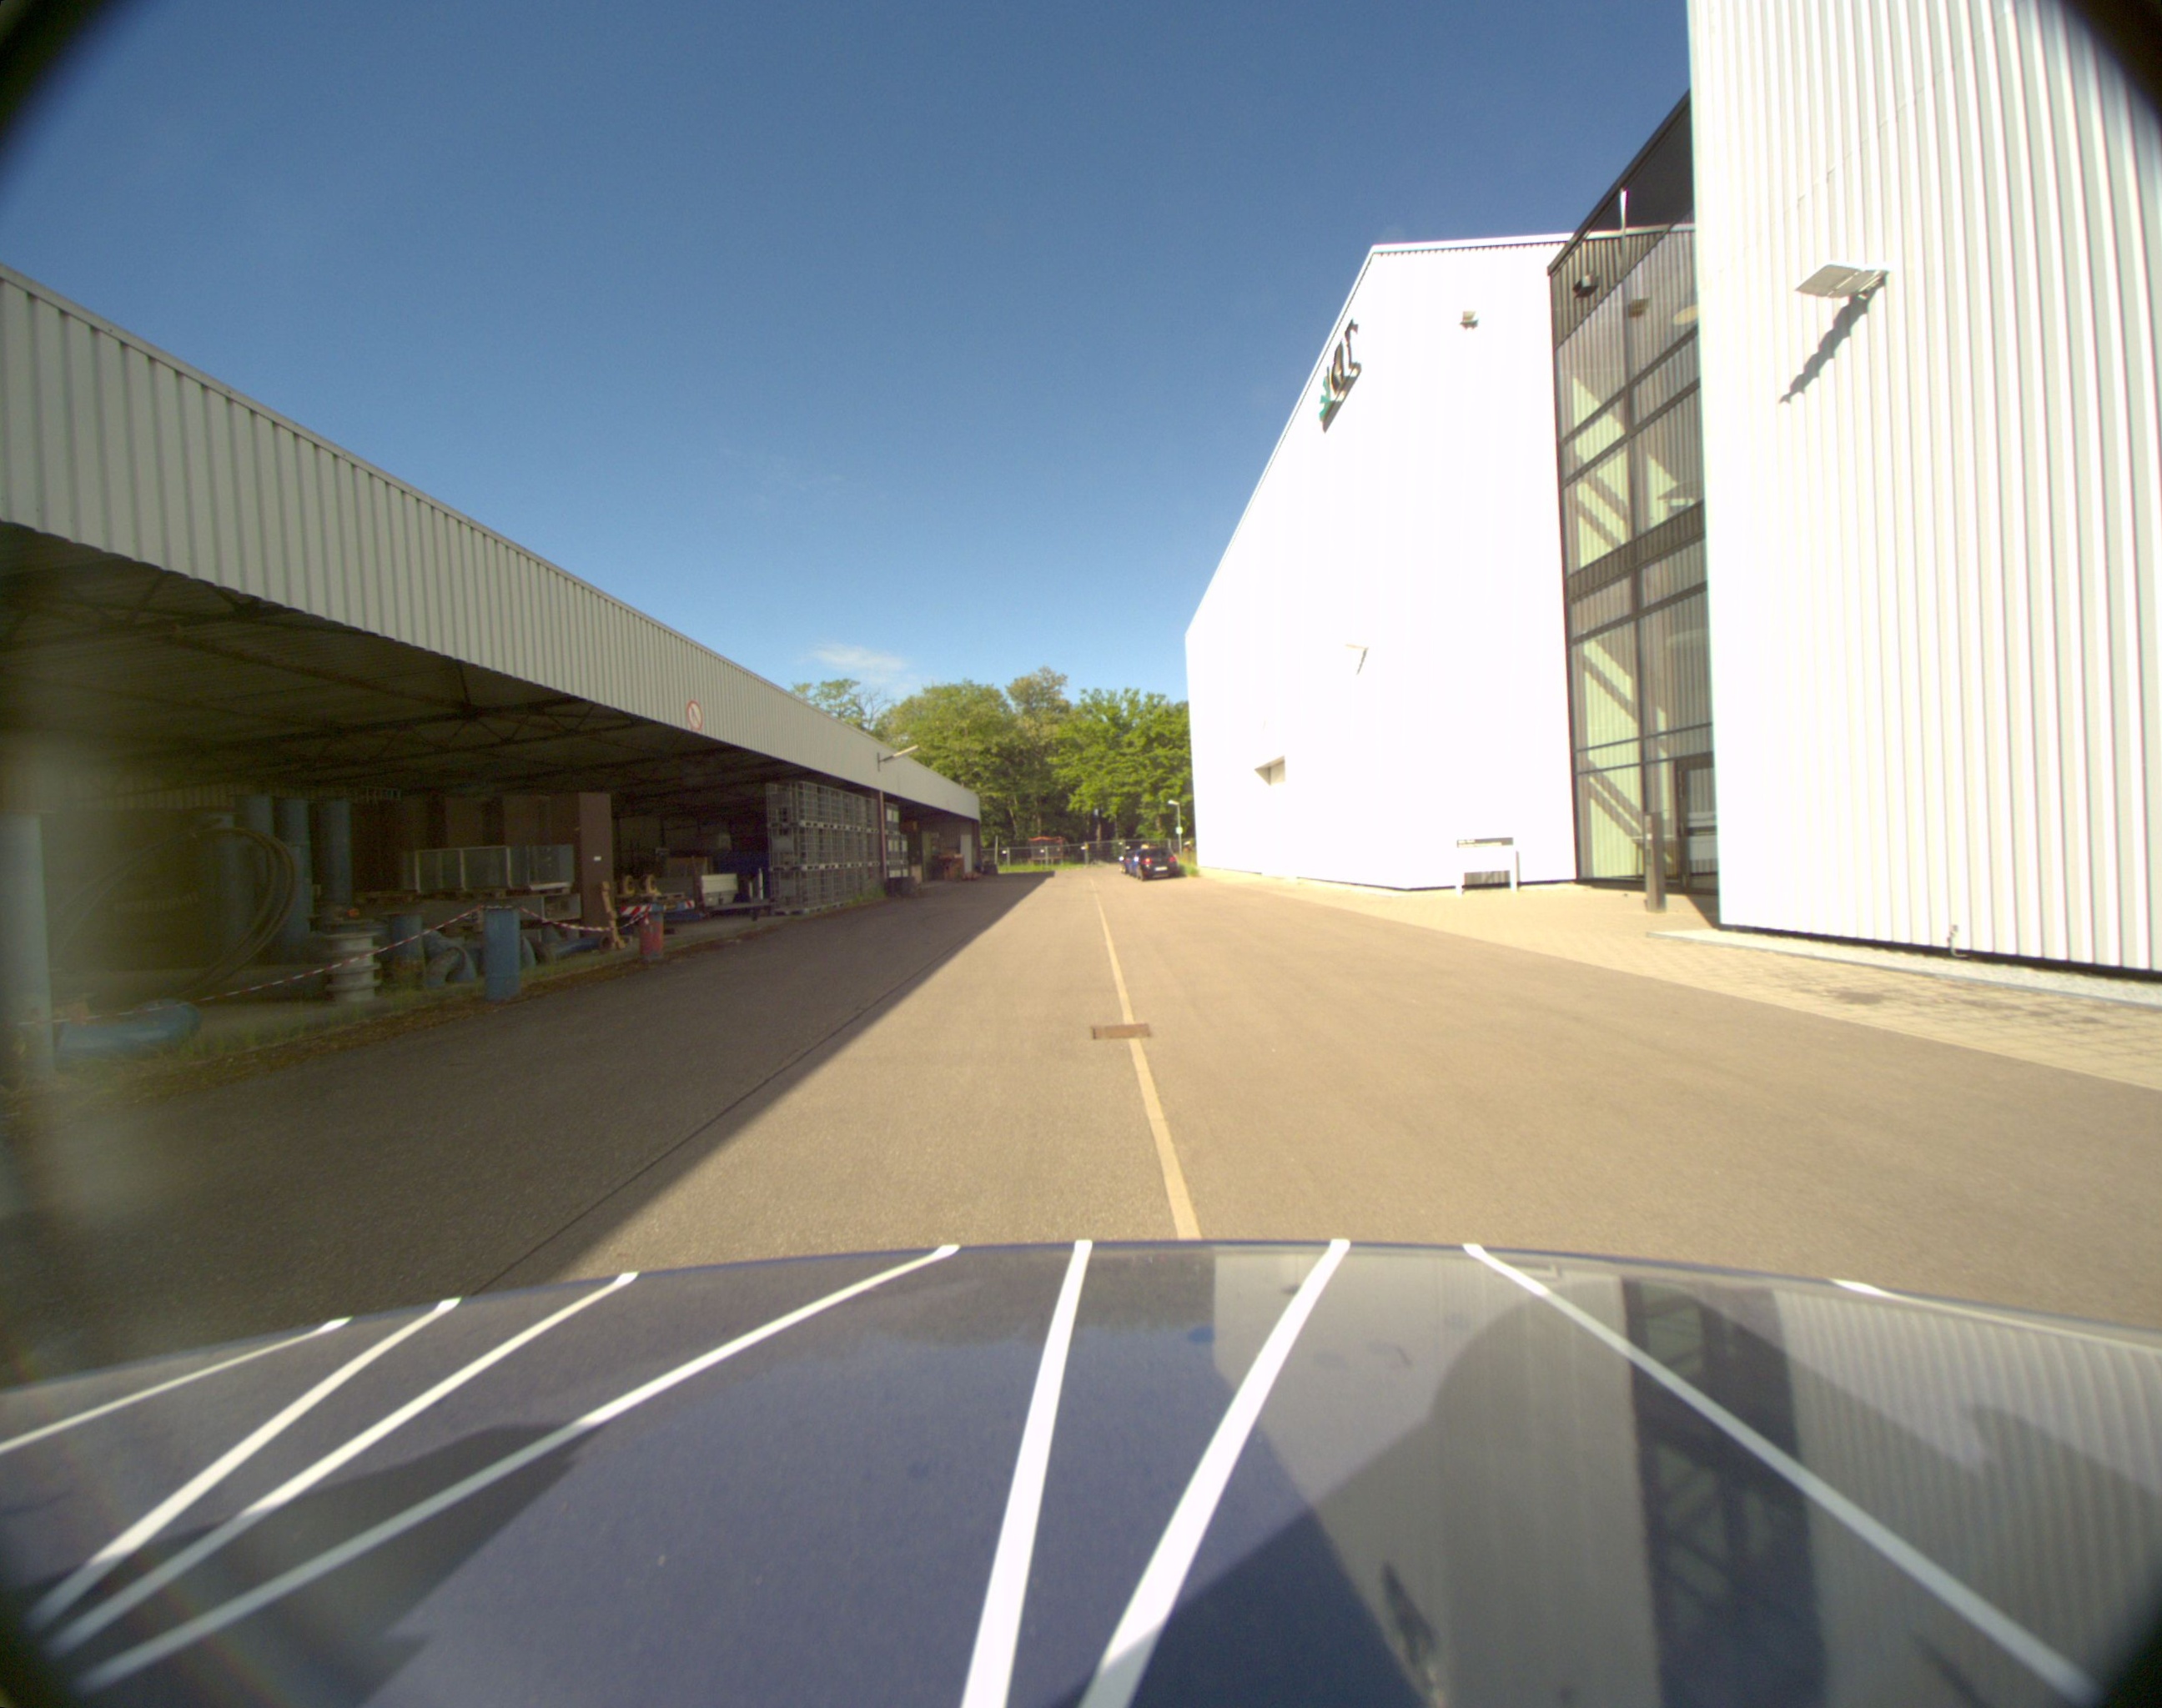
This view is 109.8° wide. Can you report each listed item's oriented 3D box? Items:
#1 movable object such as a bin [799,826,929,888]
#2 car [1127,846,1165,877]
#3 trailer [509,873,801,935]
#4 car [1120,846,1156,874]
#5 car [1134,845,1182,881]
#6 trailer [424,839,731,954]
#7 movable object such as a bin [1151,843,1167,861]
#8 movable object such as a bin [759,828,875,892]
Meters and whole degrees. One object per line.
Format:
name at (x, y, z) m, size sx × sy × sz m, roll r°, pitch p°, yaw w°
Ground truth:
movable object such as a bin at (-11.196, 0.148, 39.656) m, size 5.848 × 2.908 × 2.820 m, roll -2°, pitch 1°, yaw 1°
car at (3.413, 0.382, 40.363) m, size 1.552 × 1.480 × 3.521 m, roll -5°, pitch 0°, yaw -1°
trailer at (-9.920, 1.146, 18.046) m, size 5.743 × 1.178 × 1.974 m, roll -1°, pitch 1°, yaw -1°
car at (3.376, 0.353, 45.874) m, size 1.716 × 1.440 × 3.797 m, roll -5°, pitch 0°, yaw -1°
car at (3.534, 0.402, 35.619) m, size 1.760 × 1.437 × 4.314 m, roll -5°, pitch 0°, yaw 1°
trailer at (-9.533, 0.748, 14.698) m, size 4.433 × 1.979 × 2.163 m, roll -1°, pitch 1°, yaw 2°
movable object such as a bin at (6.310, -0.140, 61.610) m, size 1.141 × 1.426 × 1.289 m, roll -1°, pitch 1°, yaw 1°
movable object such as a bin at (-12.555, 0.272, 36.387) m, size 4.537 × 2.814 × 2.497 m, roll -2°, pitch 1°, yaw 1°
